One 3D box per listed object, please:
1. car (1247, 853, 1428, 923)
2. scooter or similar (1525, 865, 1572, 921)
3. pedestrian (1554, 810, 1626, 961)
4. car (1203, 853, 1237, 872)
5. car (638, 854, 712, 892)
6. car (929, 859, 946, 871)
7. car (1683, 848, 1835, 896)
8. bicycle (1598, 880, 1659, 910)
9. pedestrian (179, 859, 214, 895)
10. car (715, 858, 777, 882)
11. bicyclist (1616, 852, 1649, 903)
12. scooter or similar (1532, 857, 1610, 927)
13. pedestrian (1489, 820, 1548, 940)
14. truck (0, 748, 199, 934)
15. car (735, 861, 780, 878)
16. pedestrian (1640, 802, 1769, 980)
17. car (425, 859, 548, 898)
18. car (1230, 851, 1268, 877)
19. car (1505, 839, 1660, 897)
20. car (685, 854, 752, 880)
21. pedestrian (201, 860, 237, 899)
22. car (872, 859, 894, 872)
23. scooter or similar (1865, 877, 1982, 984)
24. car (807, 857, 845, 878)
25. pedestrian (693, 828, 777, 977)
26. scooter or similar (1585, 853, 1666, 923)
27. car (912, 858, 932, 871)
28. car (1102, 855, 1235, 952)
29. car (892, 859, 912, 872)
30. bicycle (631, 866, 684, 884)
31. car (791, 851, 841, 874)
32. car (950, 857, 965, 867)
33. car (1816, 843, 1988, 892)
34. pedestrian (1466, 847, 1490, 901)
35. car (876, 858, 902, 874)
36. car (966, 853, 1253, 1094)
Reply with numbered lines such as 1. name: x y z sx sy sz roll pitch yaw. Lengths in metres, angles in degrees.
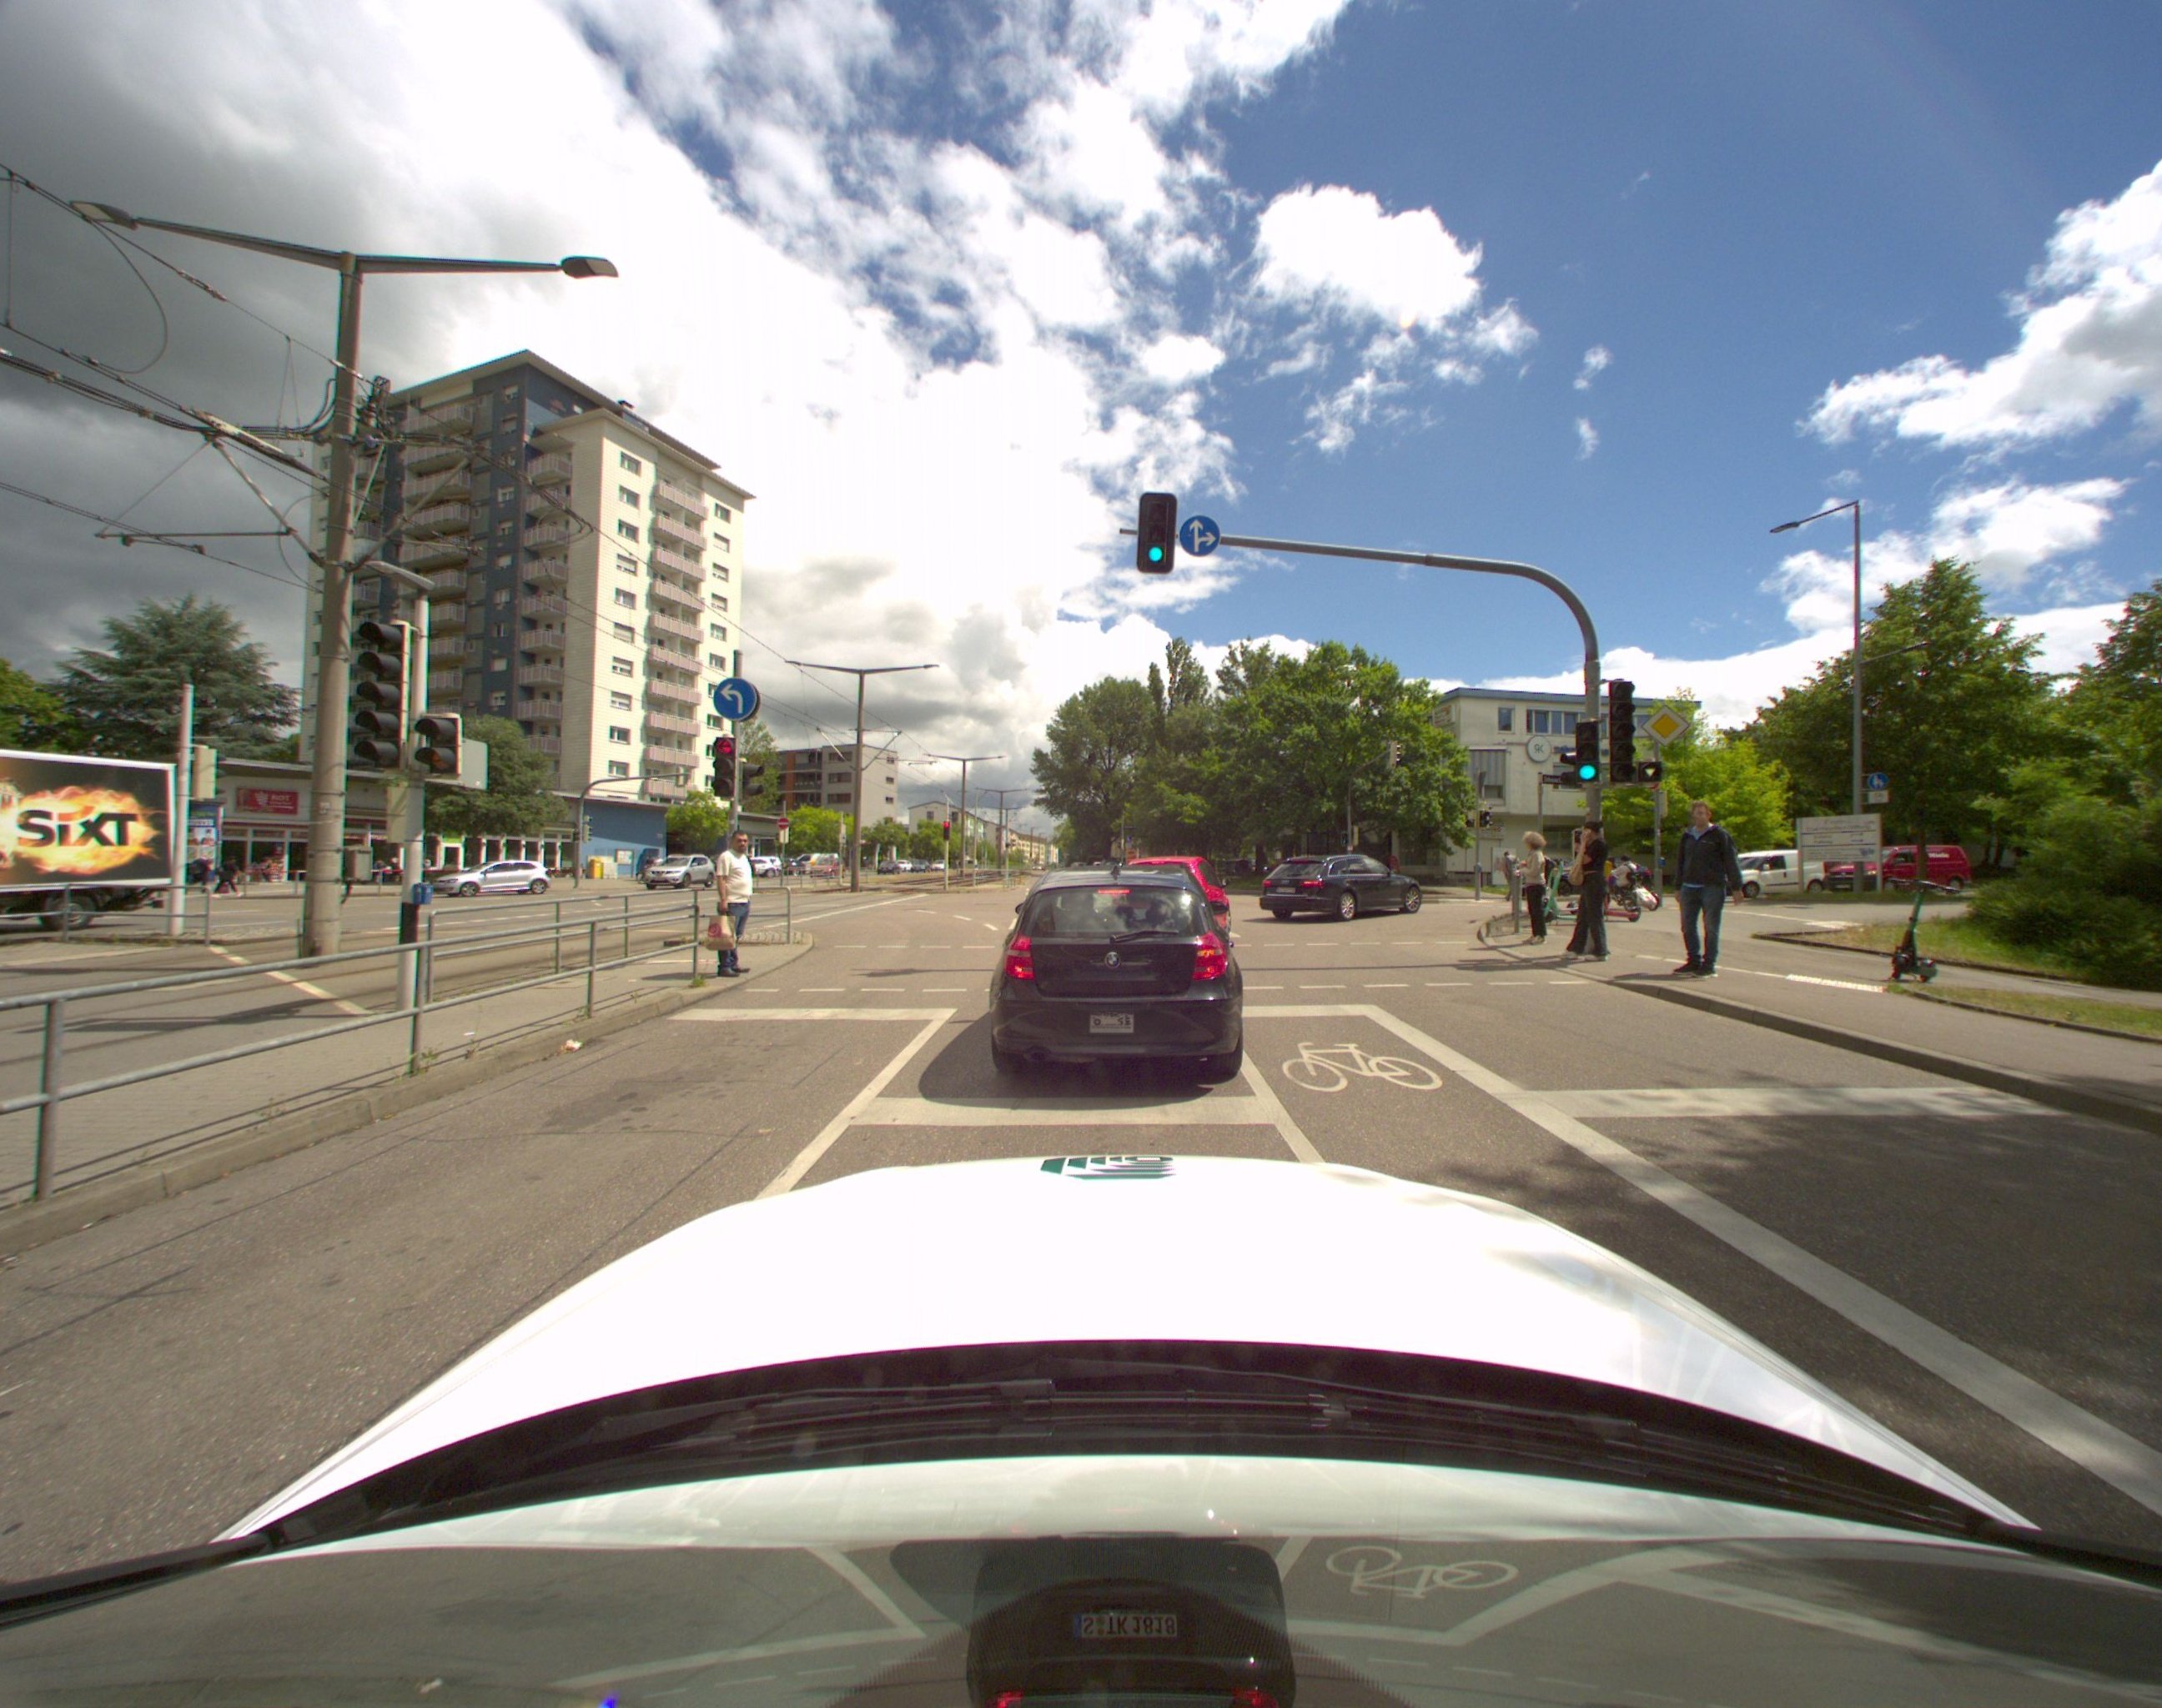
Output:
1. car: 6.096 0.705 19.060 4.562 1.422 1.884 -1 0 -40
2. scooter or similar: 9.433 0.766 16.450 0.543 1.064 1.268 0 0 17
3. pedestrian: 6.501 0.395 10.426 0.632 1.876 0.519 0 0 8
4. car: 12.271 0.719 72.204 1.862 1.662 3.989 0 0 -8
5. car: -19.592 0.889 39.505 1.585 1.756 3.776 0 0 2
6. car: -19.558 1.513 111.135 1.645 1.534 3.872 0 0 1
7. car: 25.678 0.653 30.916 4.366 1.764 1.996 0 0 -7
8. bicycle: 12.679 0.939 18.903 0.530 0.610 1.594 0 0 7
9. pedestrian: -37.381 0.964 34.425 0.738 1.510 0.929 0 0 38
10. car: -24.979 1.152 60.829 3.946 1.647 1.636 -1 0 -43
11. bicyclist: 12.653 0.542 18.682 0.498 1.157 0.400 0 0 8
12. scooter or similar: 8.878 0.678 14.782 1.104 1.235 0.540 0 0 4
13. pedestrian: 6.568 0.378 12.245 0.632 1.766 0.519 0 0 8
14. truck: -19.215 -0.221 13.060 2.275 3.118 7.314 0 0 -1
15. car: -25.327 1.212 63.690 3.115 1.281 1.455 0 0 -29
16. pedestrian: 6.994 0.387 9.145 1.015 1.876 0.791 0 0 -27
17. car: -24.159 0.960 33.205 1.393 1.461 3.798 0 0 33
18. car: 12.630 0.701 61.380 1.724 1.871 3.992 0 0 -6
19. car: 18.180 0.486 29.627 4.527 2.013 1.997 0 0 -5
20. car: -24.654 0.826 55.380 4.012 1.687 1.561 0 0 -30
21. pedestrian: -34.164 1.000 32.275 0.929 1.510 0.738 0 0 -43
22. car: -23.044 1.326 94.900 1.585 1.474 3.776 0 0 2
23. scooter or similar: 10.492 0.937 10.157 0.886 1.230 0.455 4 0 2
24. car: -19.750 1.011 63.322 1.645 1.534 3.872 0 0 1
25. pedestrian: -4.178 0.566 9.882 0.684 1.734 0.688 -1 0 2
26. scooter or similar: 10.324 0.628 15.461 1.145 1.272 0.556 1 0 4
27. car: -19.067 1.270 97.708 1.645 1.534 3.872 0 0 1
28. car: 1.612 0.733 13.925 1.625 1.399 3.435 0 0 17
29. car: -22.677 1.411 103.327 1.645 1.534 3.872 0 0 1
30. bicycle: -23.519 1.178 45.303 2.569 1.008 0.749 1 -2 -26
31. car: -23.481 0.756 72.170 3.944 1.975 1.637 -1 0 -40
32. car: -19.929 1.304 131.501 1.645 1.534 3.872 0 0 1
33. car: 31.670 0.506 31.500 4.953 1.799 1.997 0 0 -5
34. pedestrian: 12.898 0.646 26.447 0.651 1.713 0.464 1 -1 29
35. car: -19.744 1.238 83.844 1.645 1.534 3.872 0 0 1
36. car: 0.250 0.709 6.539 1.693 1.399 3.422 0 0 3
